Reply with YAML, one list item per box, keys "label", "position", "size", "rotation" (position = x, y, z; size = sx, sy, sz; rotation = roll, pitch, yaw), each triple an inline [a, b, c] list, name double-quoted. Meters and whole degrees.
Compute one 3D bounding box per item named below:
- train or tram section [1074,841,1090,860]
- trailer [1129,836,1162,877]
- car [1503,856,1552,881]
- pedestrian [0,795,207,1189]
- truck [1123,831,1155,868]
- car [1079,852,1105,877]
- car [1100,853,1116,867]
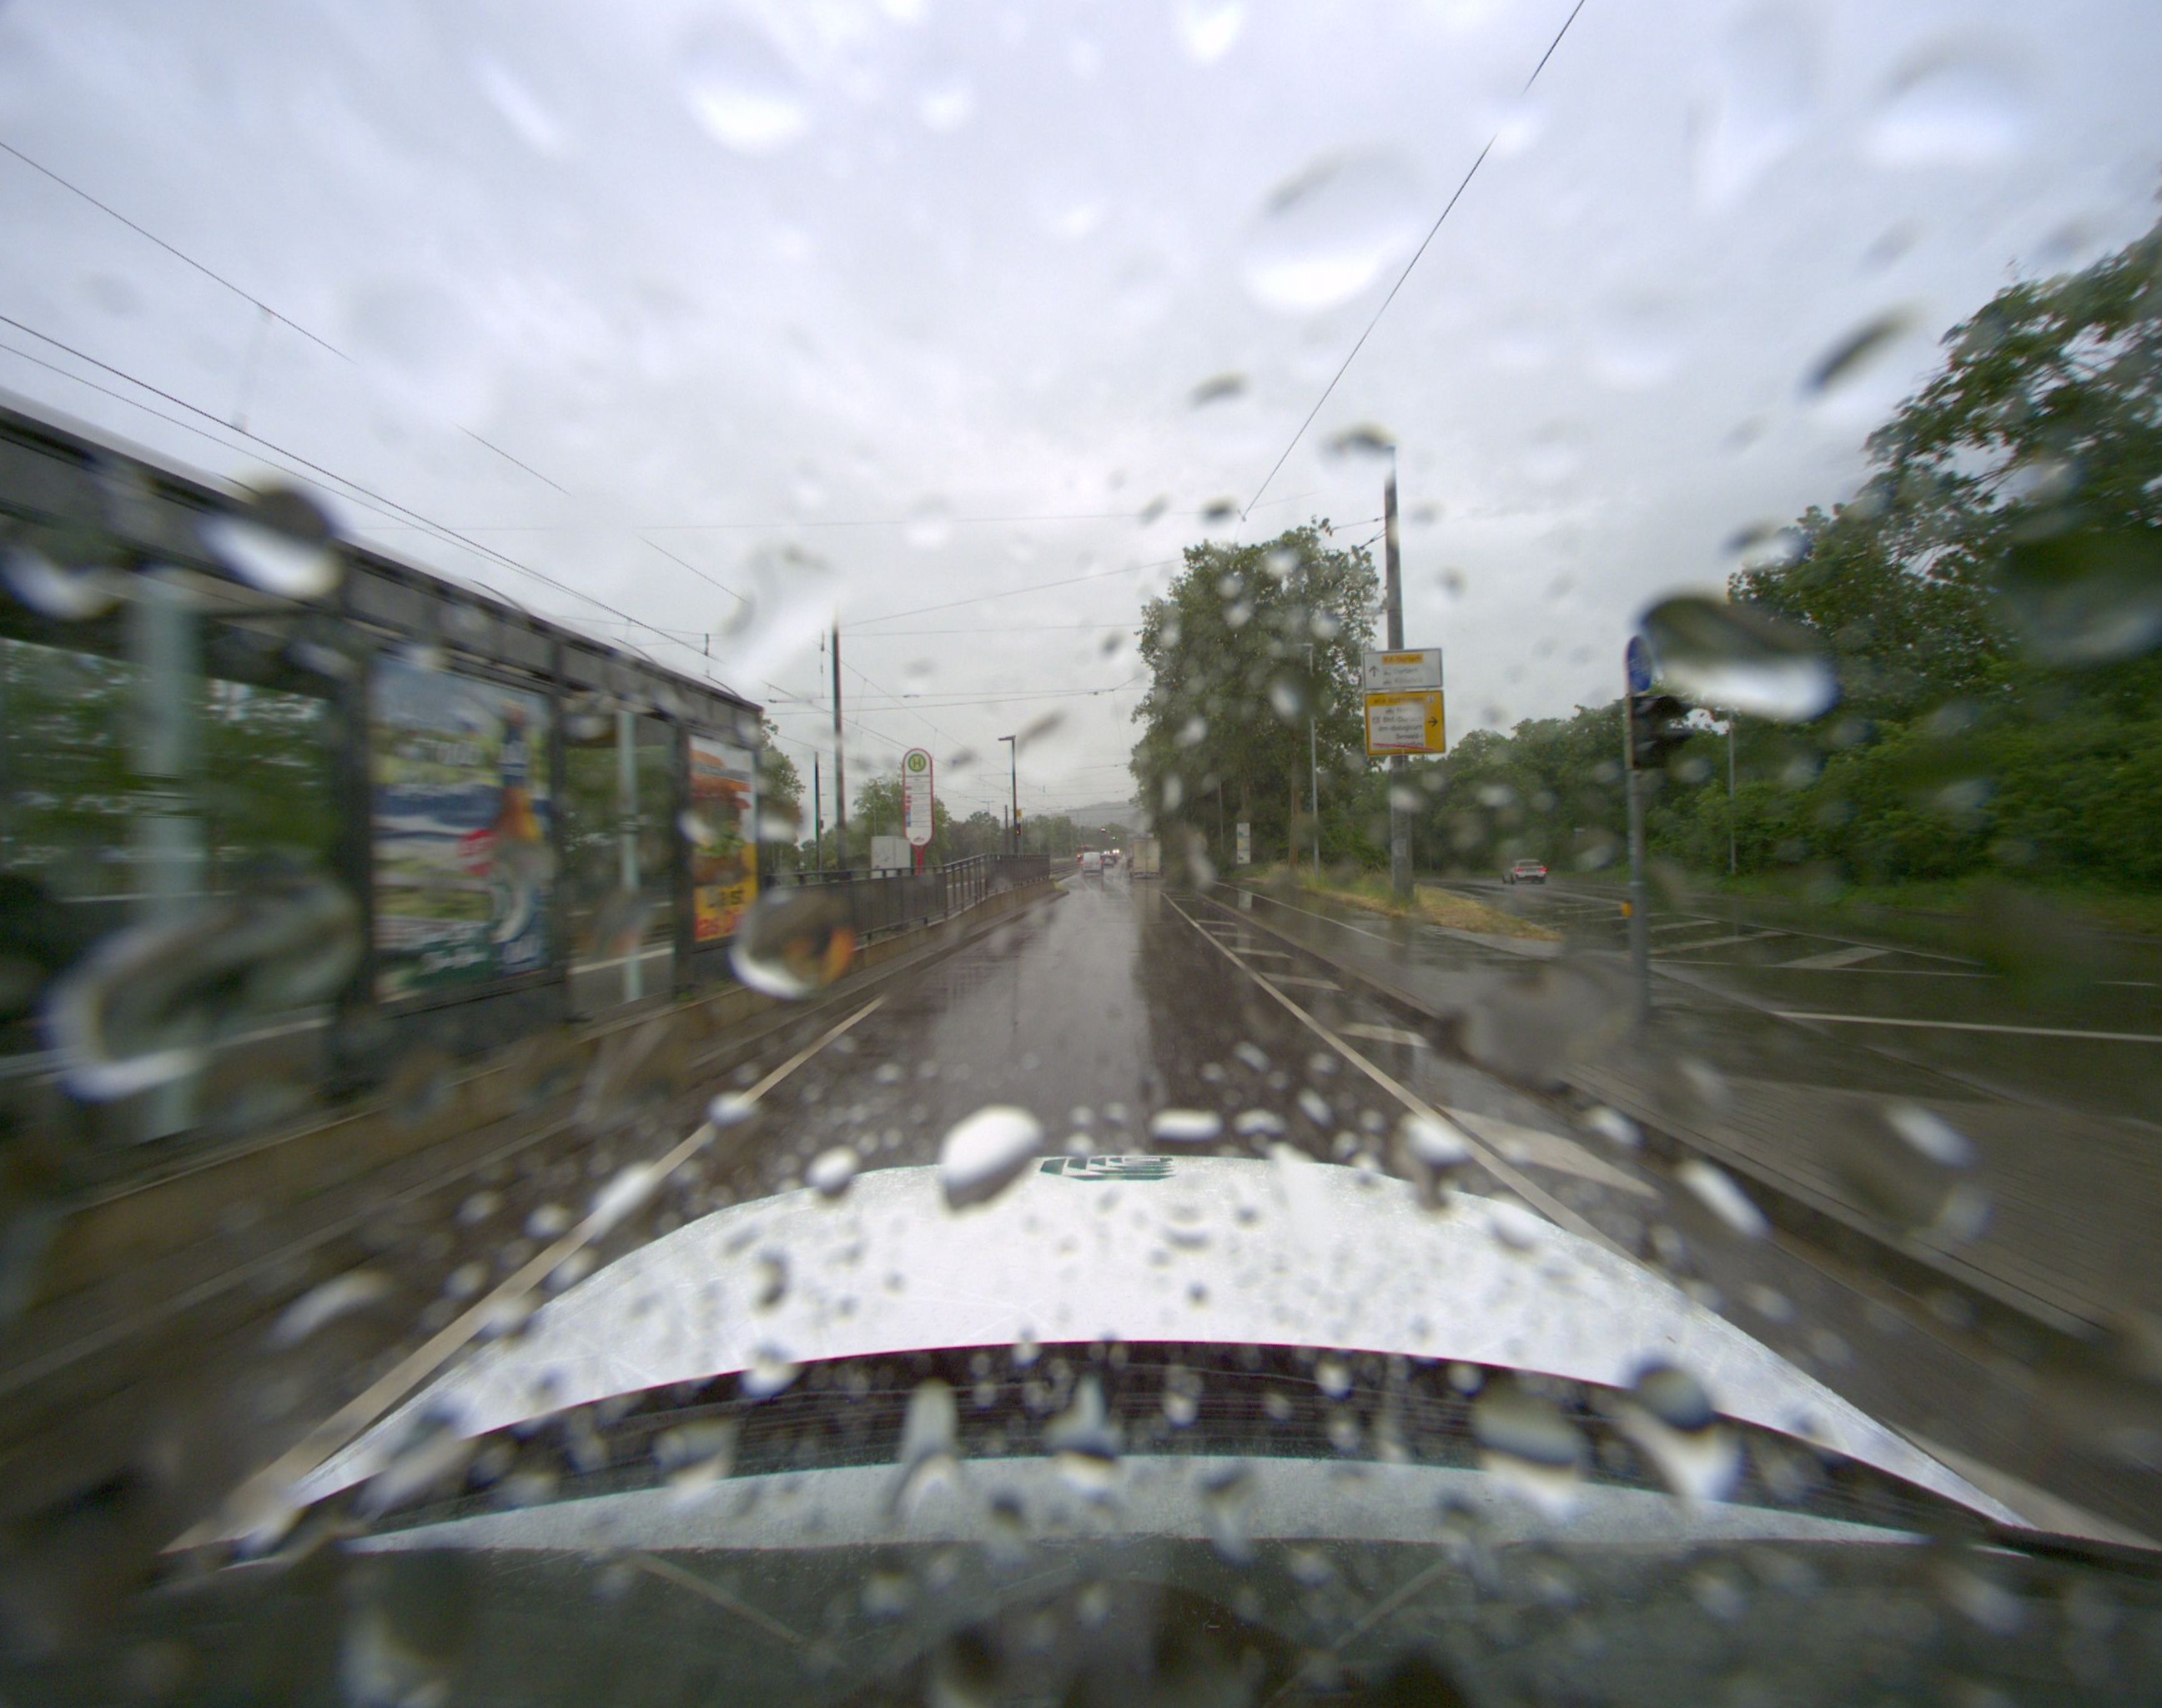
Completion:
- label: "train or tram section"
  position: [0.371, -0.841, 183.947]
  size: [2.794, 4.149, 13.032]
  rotation: [-1, 0, 4]
- label: "trailer"
  position: [4.613, 0.200, 57.470]
  size: [2.155, 2.757, 5.685]
  rotation: [-1, -1, 6]
- label: "car"
  position: [26.784, 0.851, 48.959]
  size: [1.873, 1.431, 4.019]
  rotation: [-1, 0, 19]
- label: "pedestrian"
  position: [-4.066, 0.476, 3.081]
  size: [0.810, 1.340, 0.660]
  rotation: [-1, 0, 3]
- label: "truck"
  position: [6.207, -0.406, 88.759]
  size: [2.766, 3.704, 9.850]
  rotation: [-1, -1, 0]
- label: "car"
  position: [0.833, 0.802, 64.574]
  size: [1.987, 1.849, 3.999]
  rotation: [-1, 0, 0]
- label: "car"
  position: [3.238, 0.735, 97.918]
  size: [1.779, 1.642, 3.971]
  rotation: [-1, -1, 3]
